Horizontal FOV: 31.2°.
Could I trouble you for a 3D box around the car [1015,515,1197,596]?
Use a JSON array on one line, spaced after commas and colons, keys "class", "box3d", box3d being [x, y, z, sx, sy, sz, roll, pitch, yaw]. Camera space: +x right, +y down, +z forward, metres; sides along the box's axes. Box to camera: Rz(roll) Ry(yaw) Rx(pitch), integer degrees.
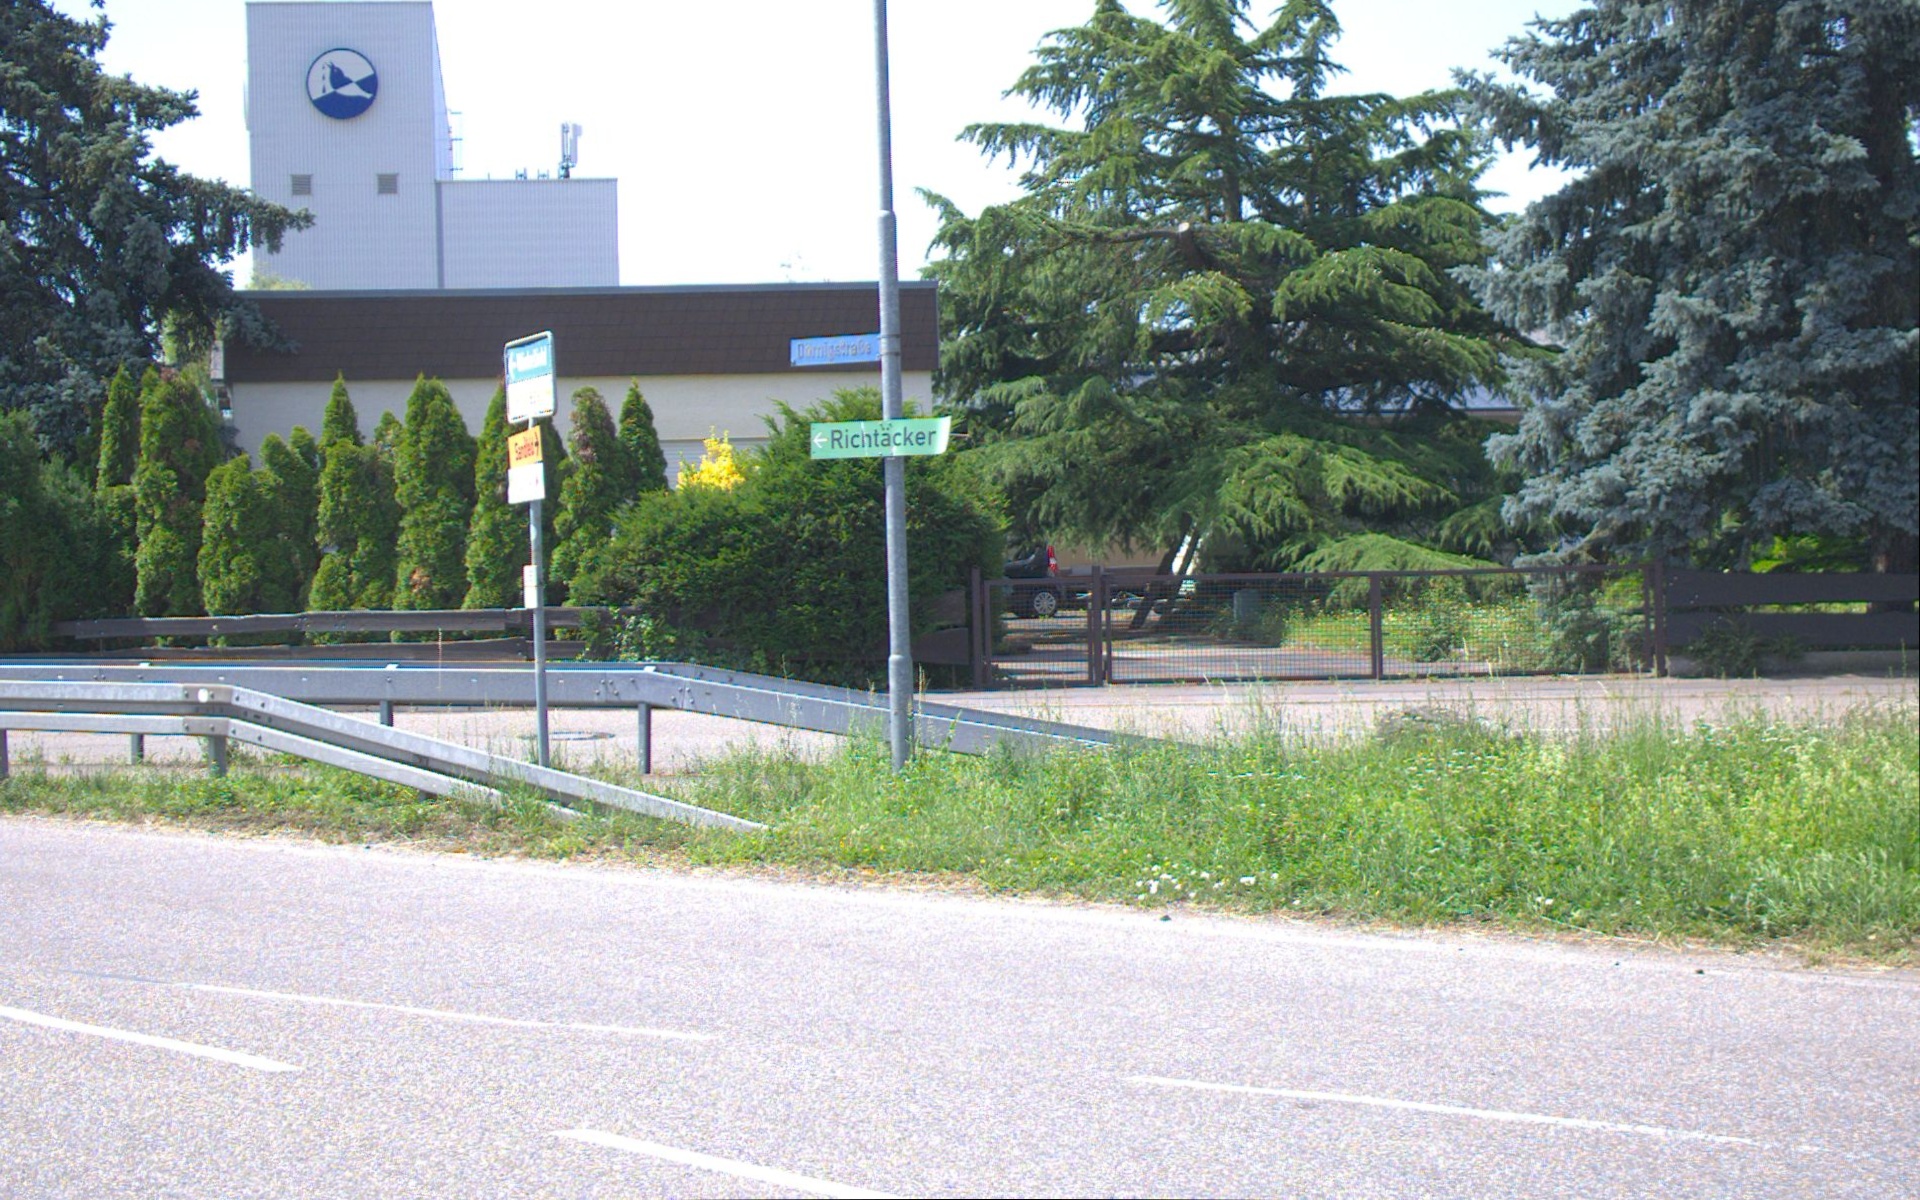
[{"class": "car", "box3d": [3.054, -0.943, 71.999, 3.523, 1.580, 1.566, -1, 2, -10]}]
